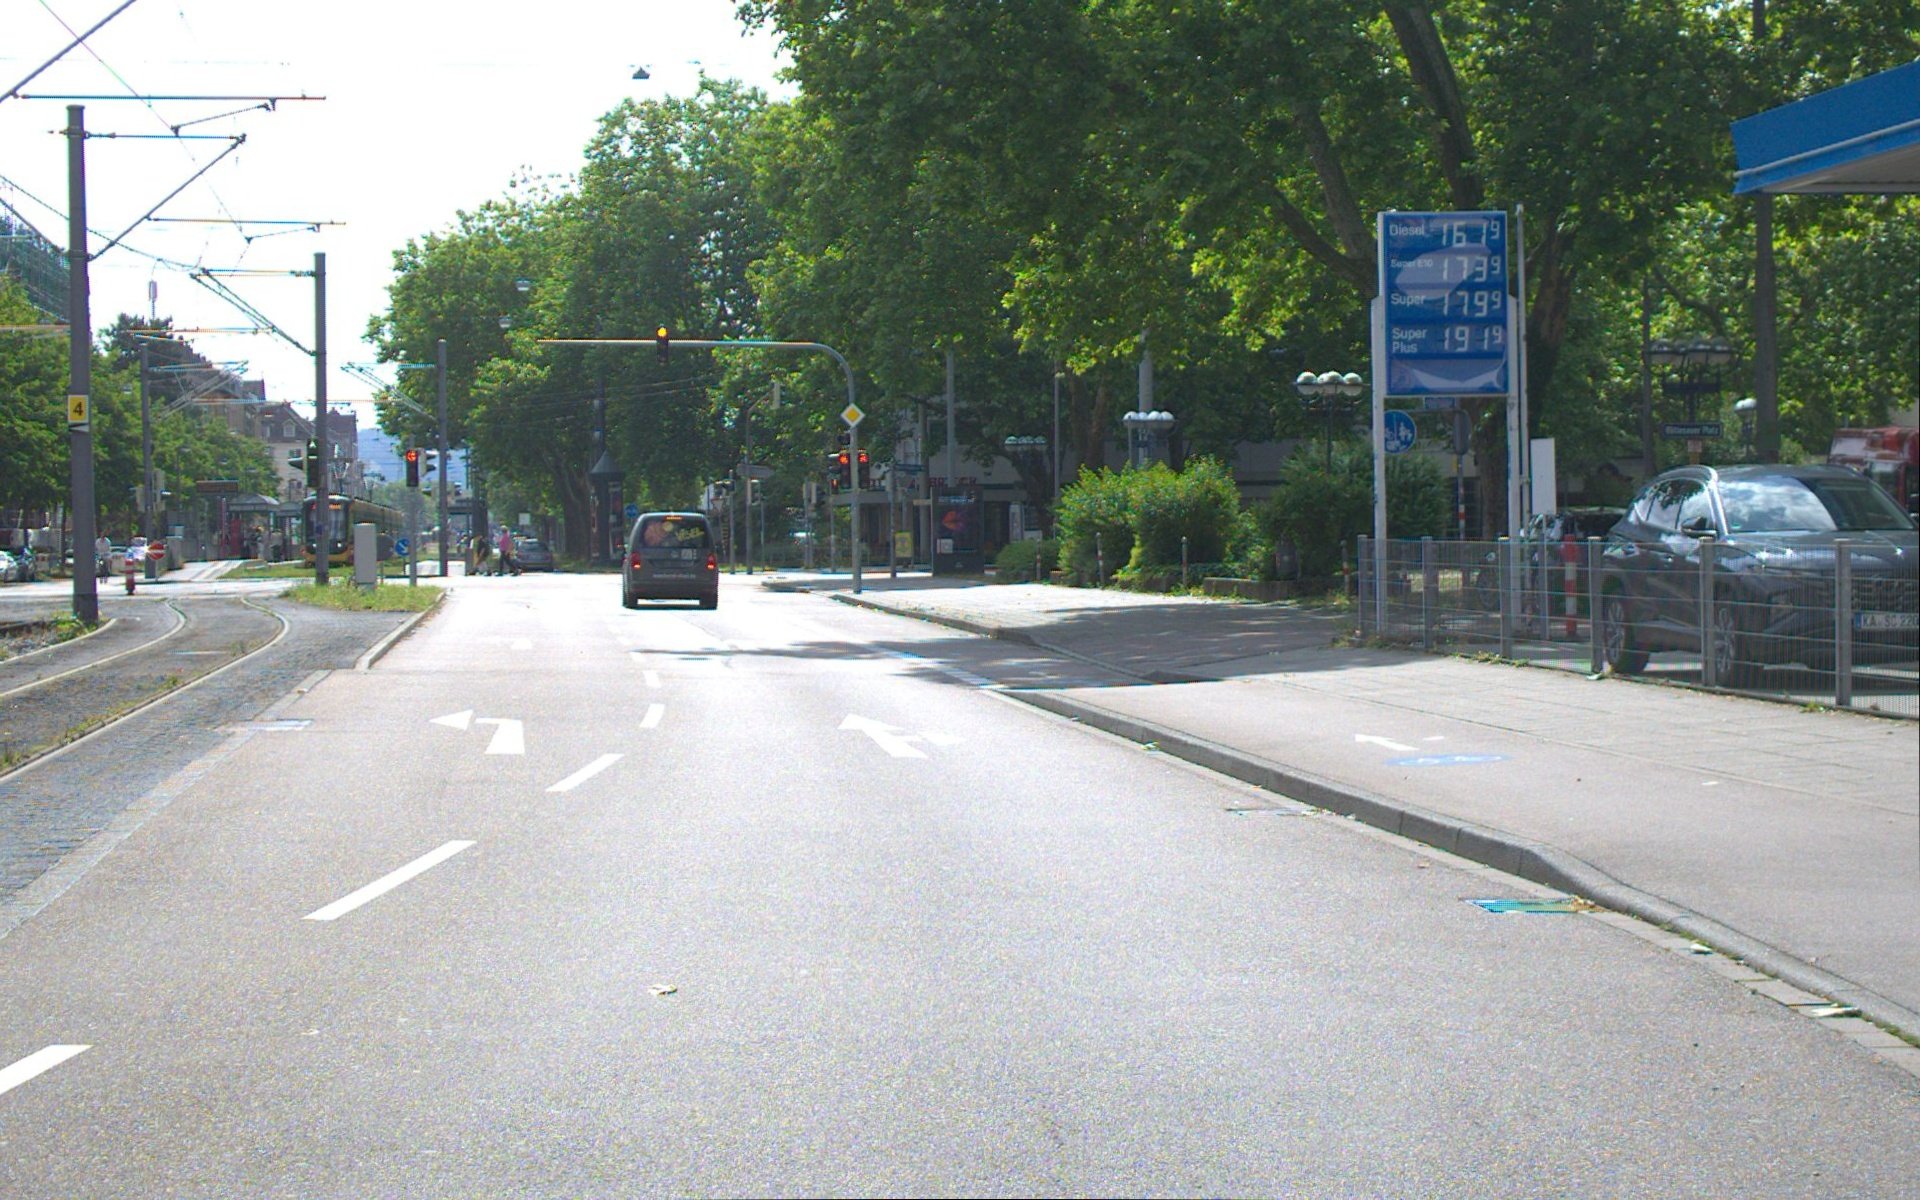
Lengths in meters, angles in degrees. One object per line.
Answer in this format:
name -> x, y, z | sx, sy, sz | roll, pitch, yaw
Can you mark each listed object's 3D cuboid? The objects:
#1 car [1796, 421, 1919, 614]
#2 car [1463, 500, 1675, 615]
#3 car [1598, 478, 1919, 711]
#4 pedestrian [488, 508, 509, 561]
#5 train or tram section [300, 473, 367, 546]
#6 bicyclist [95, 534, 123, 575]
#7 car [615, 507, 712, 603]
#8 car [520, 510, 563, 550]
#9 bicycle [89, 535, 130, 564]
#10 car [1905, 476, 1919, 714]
car -> 13.665, -1.161, 47.797 | 2.111, 2.573, 6.021 | -1, 1, -5
car -> 8.223, -0.602, 46.760 | 1.648, 1.465, 4.044 | -1, 1, -8
car -> 6.362, -0.095, 25.934 | 1.805, 1.597, 4.584 | 0, 1, -6
pedestrian -> -15.518, -2.200, 115.512 | 0.659, 1.778, 0.661 | -1, 1, -7
train or tram section -> -29.746, -4.269, 163.640 | 2.240, 3.320, 12.974 | -1, 1, -7
bicyclist -> -31.777, -1.710, 128.404 | 0.778, 1.506, 1.001 | -1, 1, 0
car -> -5.763, -0.883, 66.494 | 1.750, 1.802, 3.475 | 1, 1, -7
car -> -18.969, -3.184, 155.720 | 1.862, 1.746, 4.001 | -1, 1, -7
bicycle -> -31.807, -1.909, 128.596 | 0.894, 1.045, 2.309 | -1, 1, 2
car -> 6.977, 0.001, 19.313 | 1.805, 1.450, 4.002 | 0, 1, -7
